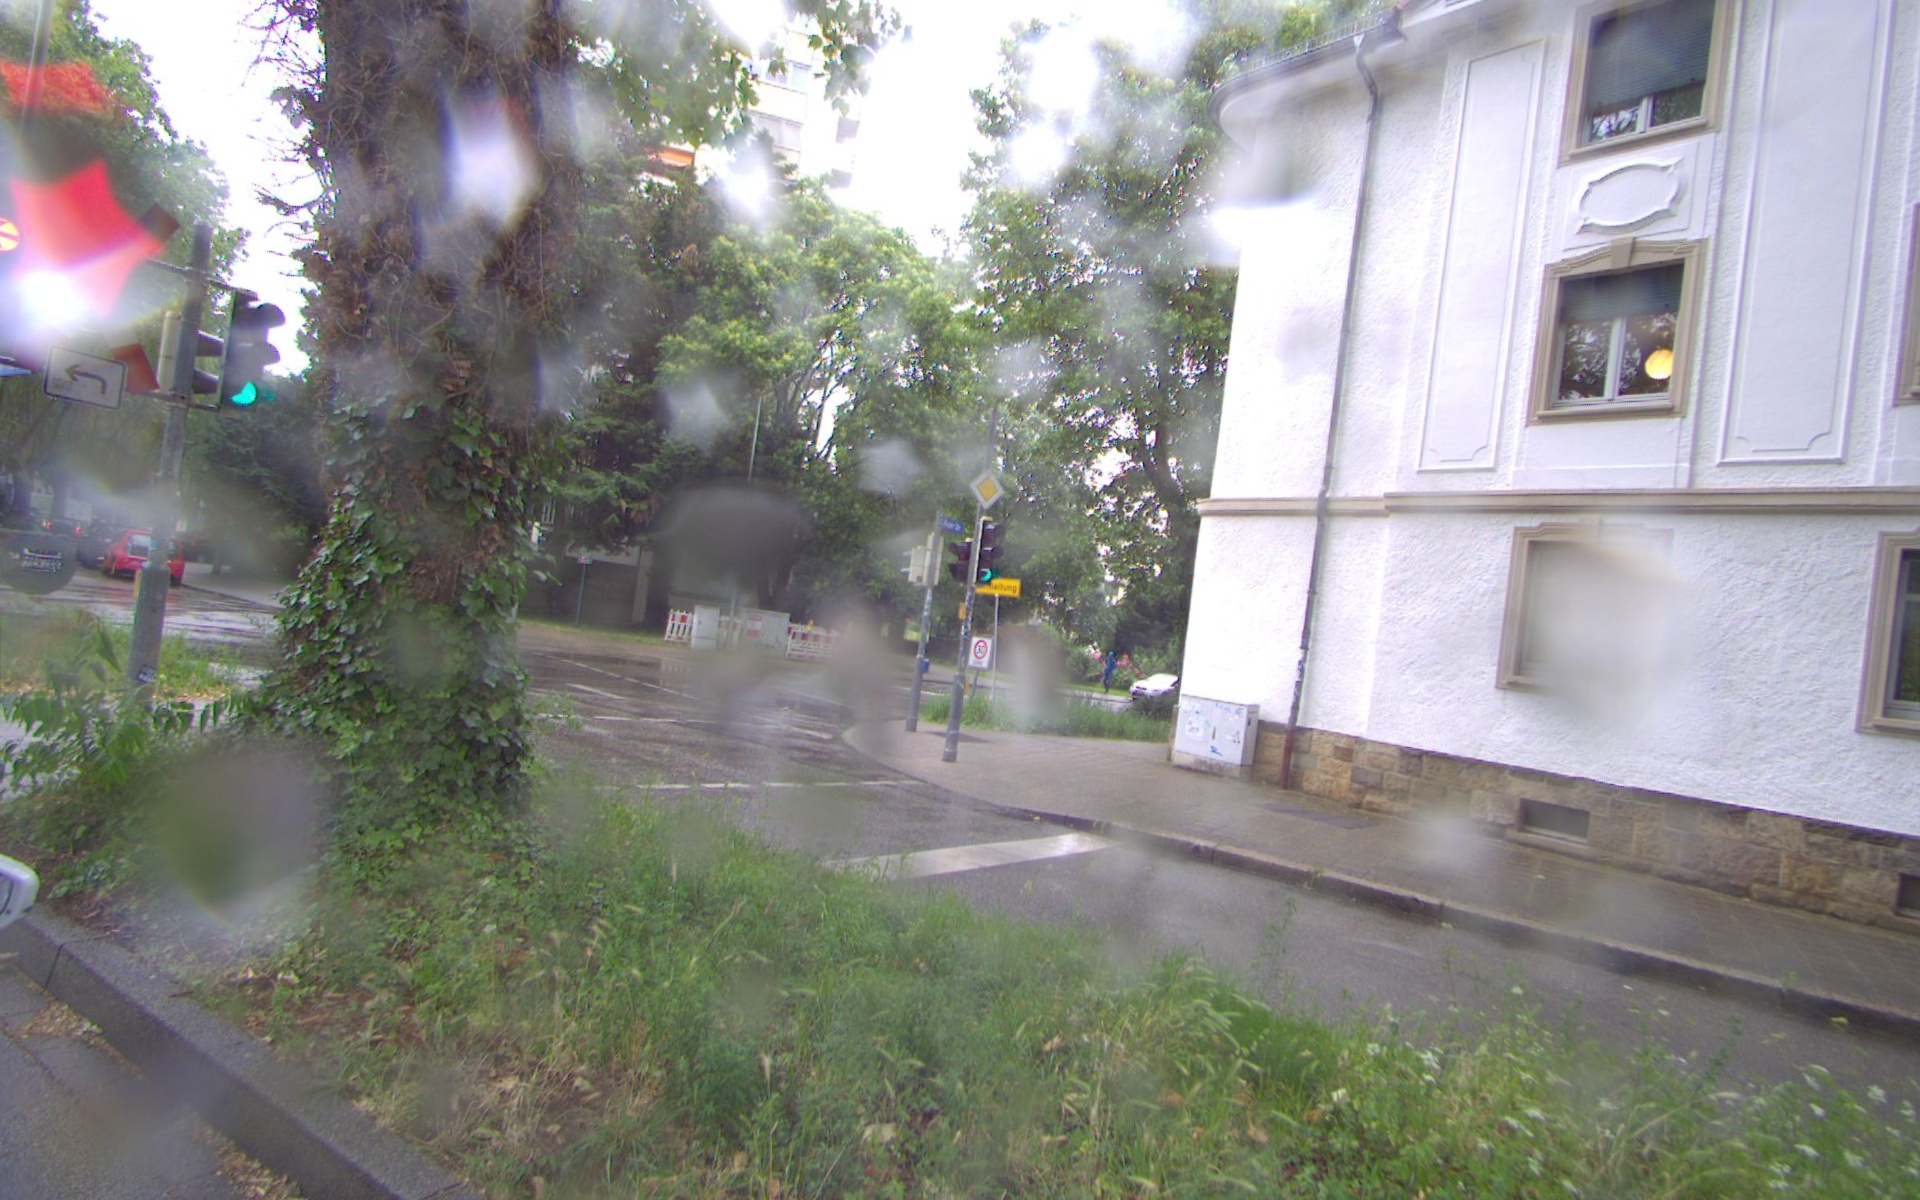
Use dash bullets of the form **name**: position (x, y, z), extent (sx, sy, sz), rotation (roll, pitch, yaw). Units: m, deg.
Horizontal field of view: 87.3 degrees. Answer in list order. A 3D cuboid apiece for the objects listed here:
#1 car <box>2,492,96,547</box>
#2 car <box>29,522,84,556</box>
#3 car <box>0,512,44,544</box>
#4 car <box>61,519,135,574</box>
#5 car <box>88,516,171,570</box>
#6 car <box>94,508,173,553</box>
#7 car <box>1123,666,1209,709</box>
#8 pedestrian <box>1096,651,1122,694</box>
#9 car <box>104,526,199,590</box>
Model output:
- **car**: position (-61.112, -5.385, 67.529), extent (4.680, 2.982, 2.043), rotation (7, -1, 12)
- **car**: position (-47.083, -3.175, 52.472), extent (1.673, 1.491, 3.627), rotation (9, -2, -37)
- **car**: position (-56.205, -4.373, 58.625), extent (1.974, 1.565, 3.980), rotation (6, -3, 44)
- **car**: position (-32.982, -2.078, 38.453), extent (1.779, 1.747, 3.951), rotation (9, -2, -44)
- **car**: position (-28.096, -1.938, 33.999), extent (1.780, 1.363, 3.879), rotation (10, -2, -44)
- **car**: position (-69.651, -5.830, 84.809), extent (4.683, 2.982, 2.001), rotation (7, -1, 1)
- **car**: position (9.411, 4.006, 45.806), extent (1.829, 1.473, 3.979), rotation (6, -3, 45)
- **pedestrian**: position (6.828, 3.303, 46.089), extent (0.670, 1.863, 0.713), rotation (6, -1, 44)
- **car**: position (-24.829, -1.310, 30.842), extent (1.788, 1.515, 3.950), rotation (10, -2, -44)
